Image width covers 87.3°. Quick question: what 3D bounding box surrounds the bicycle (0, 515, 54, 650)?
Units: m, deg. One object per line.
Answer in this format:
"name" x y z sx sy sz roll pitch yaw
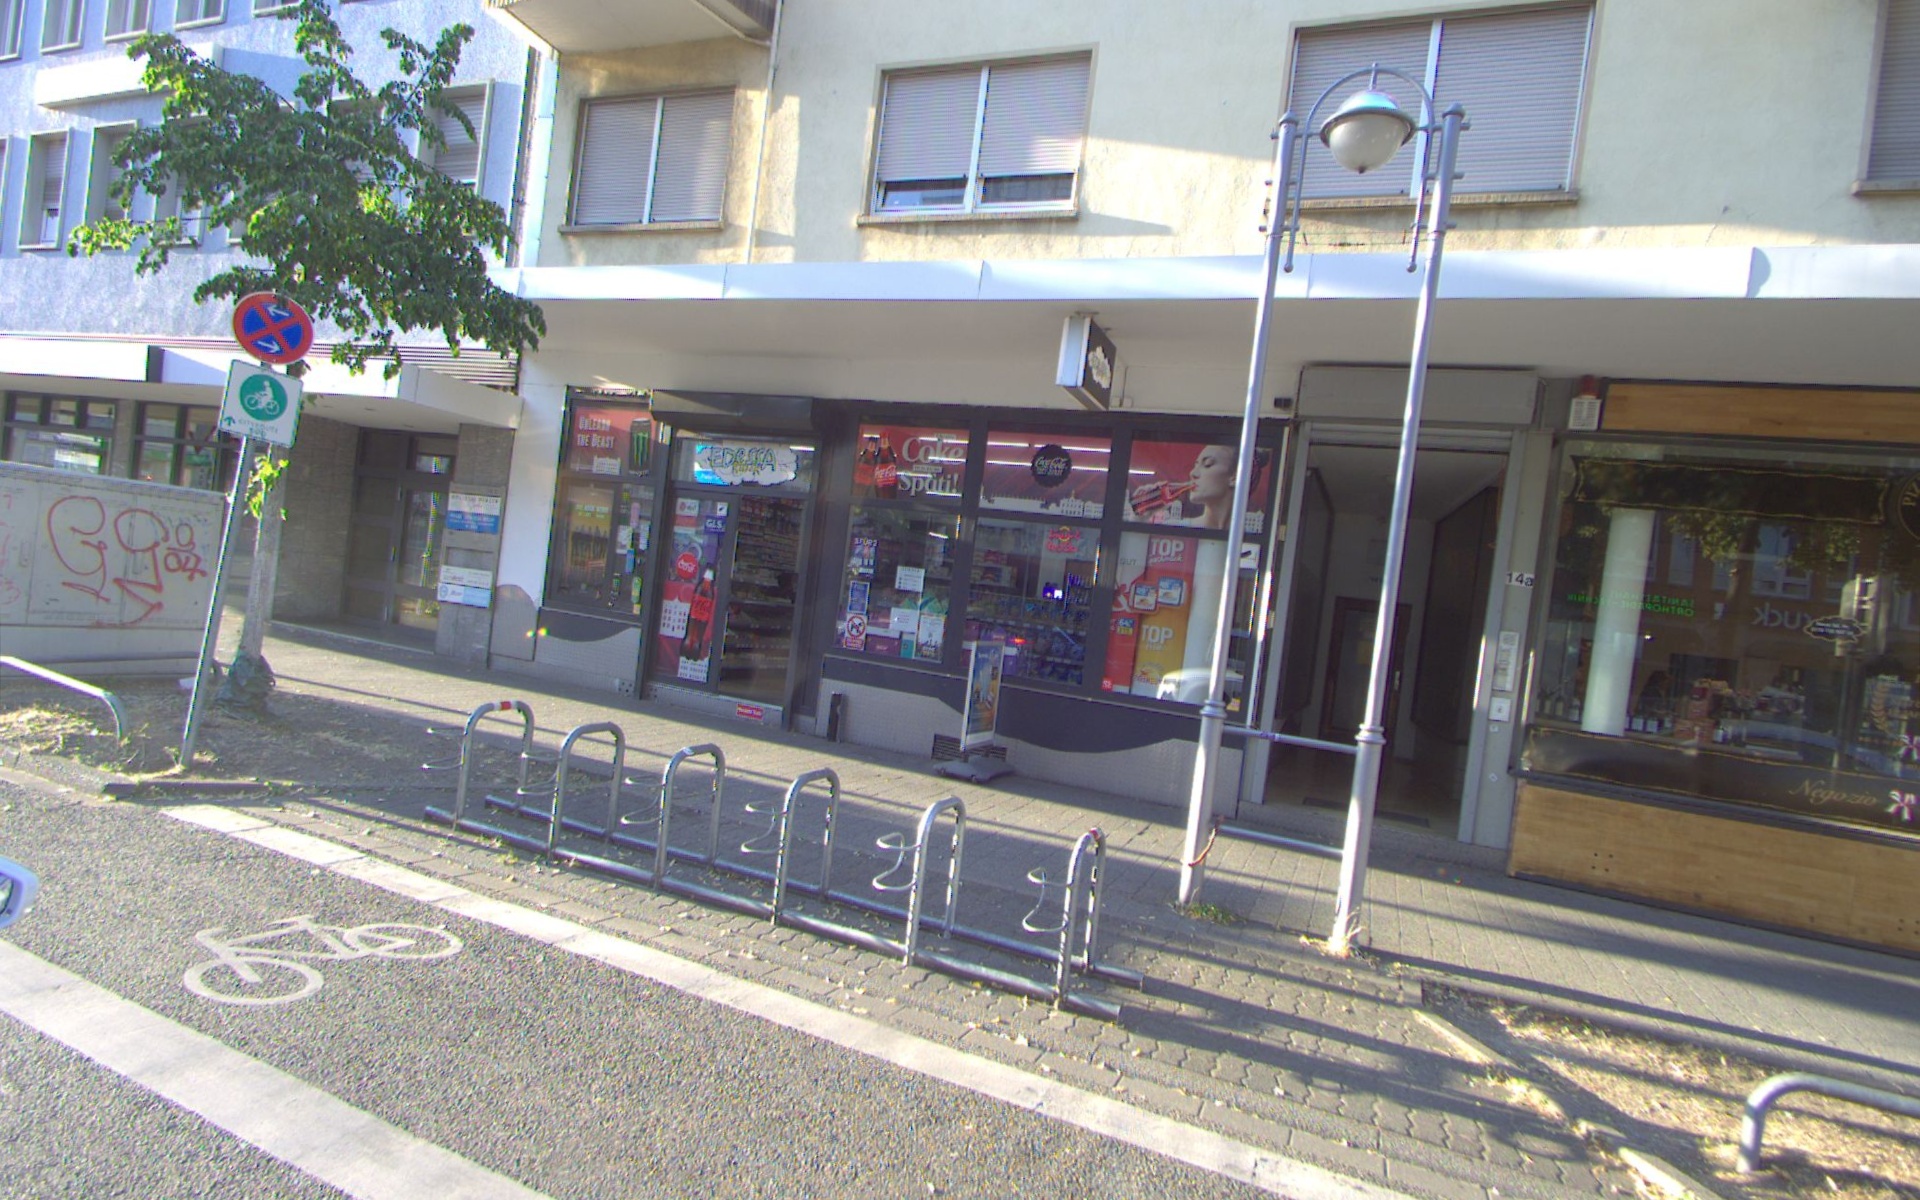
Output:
"bicycle" -9.250 -0.220 9.087 0.376 1.234 1.445 7 -1 25
